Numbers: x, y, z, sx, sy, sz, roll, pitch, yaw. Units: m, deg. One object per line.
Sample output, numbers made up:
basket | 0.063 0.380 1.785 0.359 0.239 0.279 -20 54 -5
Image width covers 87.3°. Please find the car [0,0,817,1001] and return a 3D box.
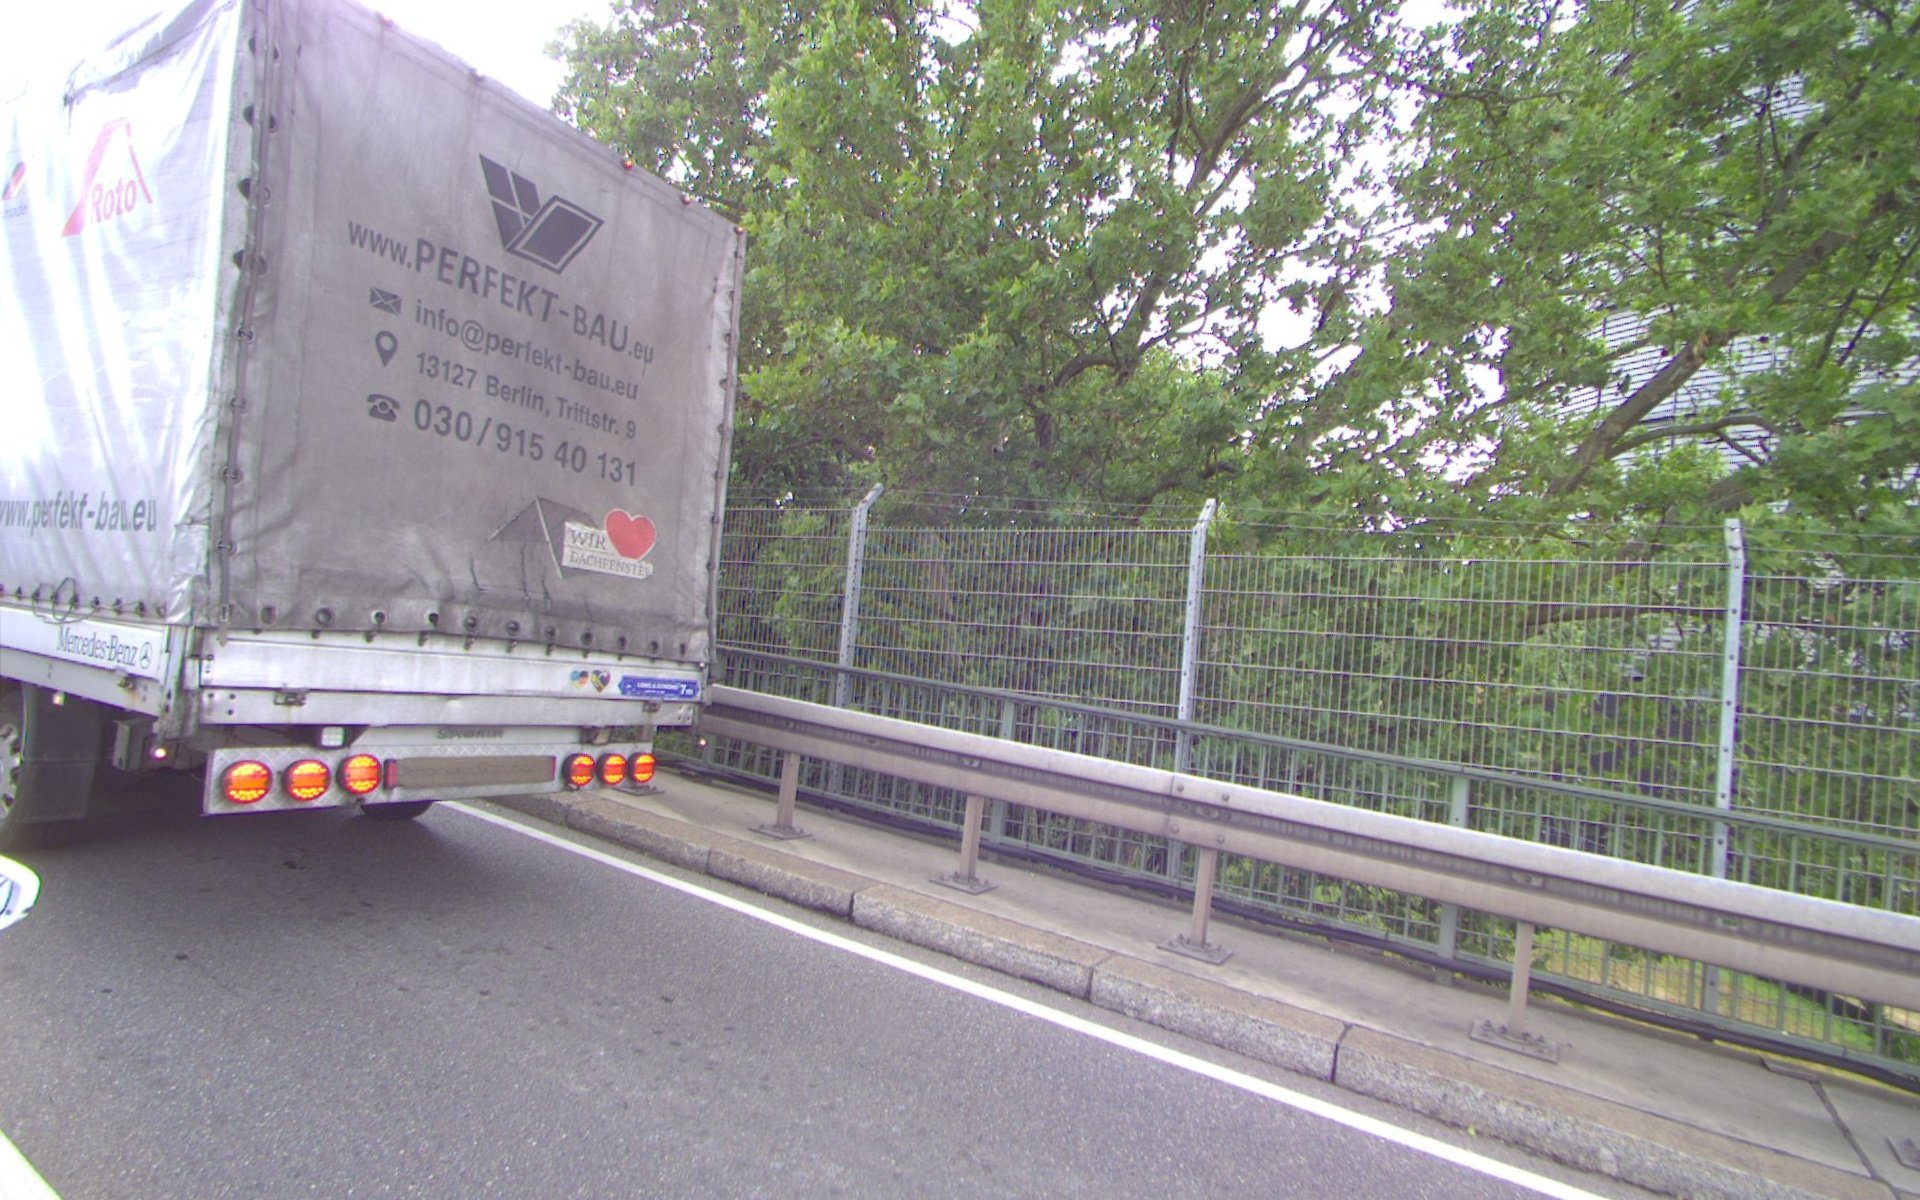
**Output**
car | -4.559 -0.687 5.944 6.974 3.369 2.663 6 -1 32
